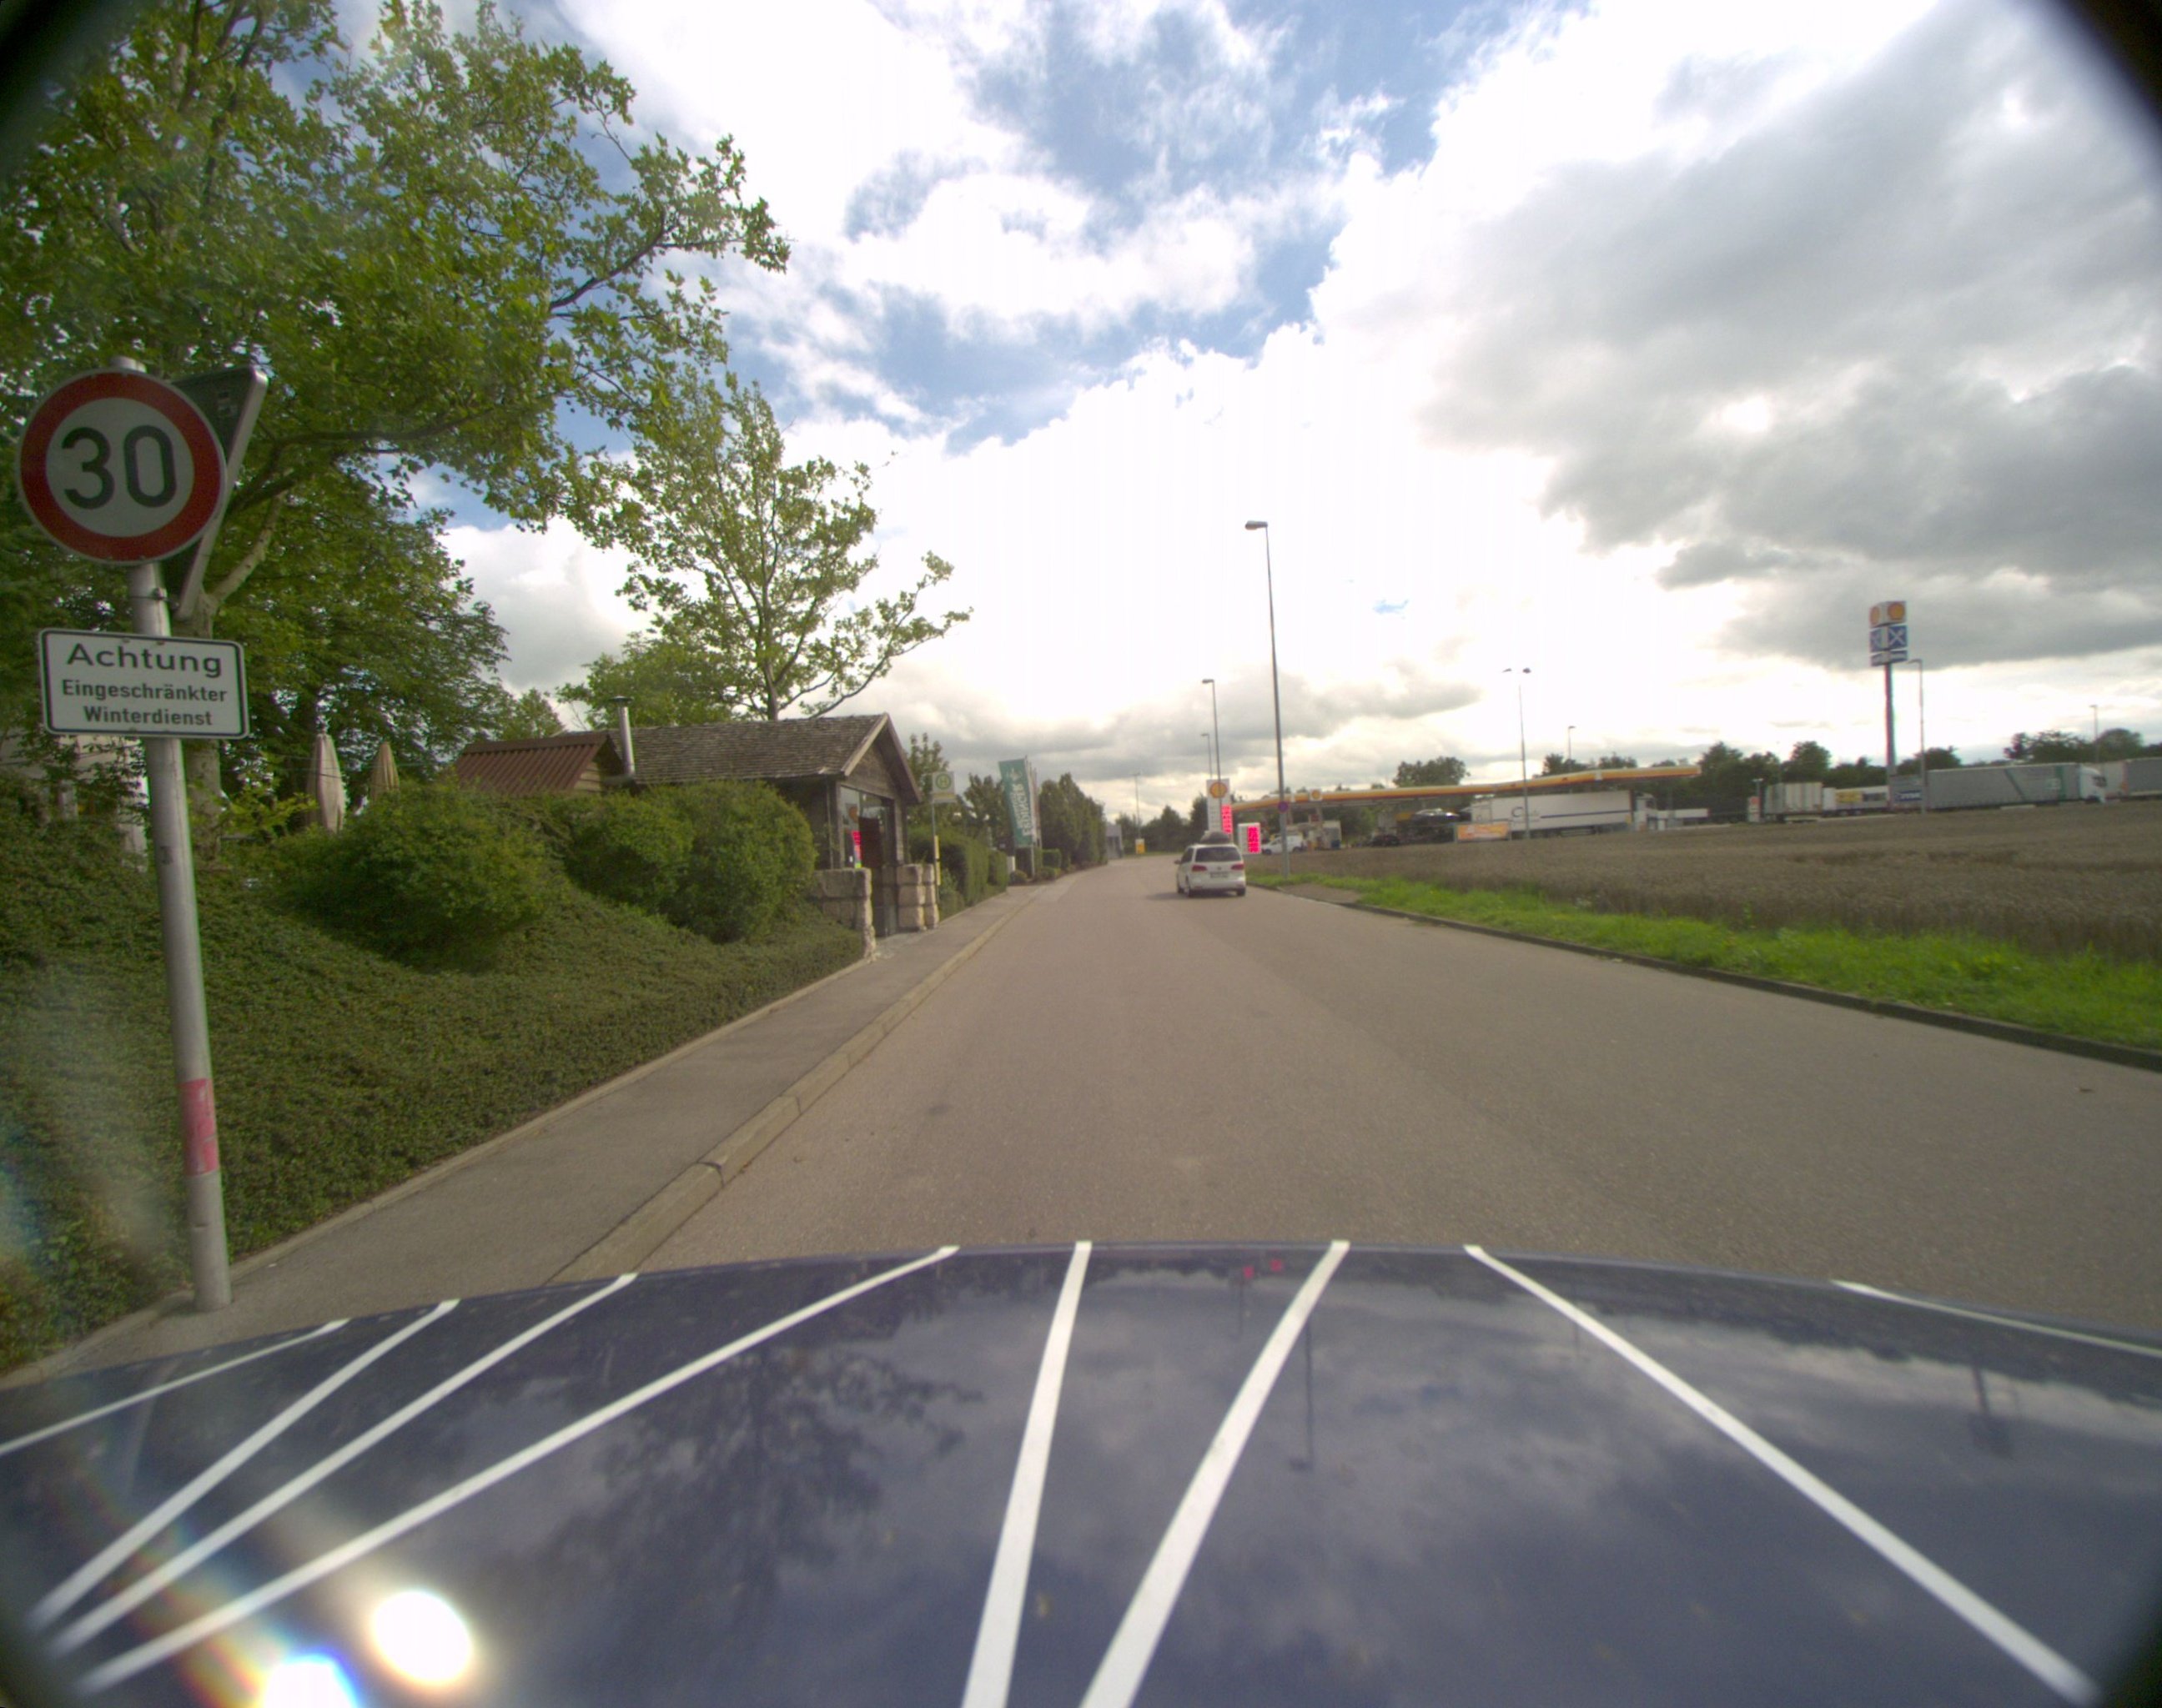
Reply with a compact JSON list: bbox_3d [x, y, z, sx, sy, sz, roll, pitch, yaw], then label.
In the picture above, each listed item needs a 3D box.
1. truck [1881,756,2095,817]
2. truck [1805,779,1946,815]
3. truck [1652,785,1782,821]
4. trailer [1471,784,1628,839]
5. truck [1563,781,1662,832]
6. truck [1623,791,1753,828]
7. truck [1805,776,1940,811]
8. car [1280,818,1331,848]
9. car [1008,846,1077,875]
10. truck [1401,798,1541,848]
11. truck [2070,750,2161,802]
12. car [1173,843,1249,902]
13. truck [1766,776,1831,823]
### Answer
[{"bbox_3d":[72.760,-5.408,60.993,15.457,3.872,2.822,-4,2,-6],"label":"truck"},{"bbox_3d":[106.431,-7.596,102.234,12.774,3.872,2.829,-2,2,36],"label":"truck"},{"bbox_3d":[83.862,-6.683,100.704,12.978,3.872,2.829,-2,2,38],"label":"truck"},{"bbox_3d":[41.119,-3.726,66.782,12.846,4.001,2.710,-4,1,-8],"label":"trailer"},{"bbox_3d":[47.250,-4.192,67.651,7.168,4.001,2.710,-4,1,-8],"label":"truck"},{"bbox_3d":[77.201,-5.637,97.194,12.774,3.872,2.829,-2,2,36],"label":"truck"},{"bbox_3d":[110.310,-8.356,106.271,12.774,3.872,2.829,-2,2,36],"label":"truck"},{"bbox_3d":[23.743,-2.236,80.202,5.818,2.771,2.219,-4,1,-40],"label":"car"},{"bbox_3d":[-2.600,0.414,51.793,4.357,1.706,1.658,-3,1,10],"label":"car"},{"bbox_3d":[36.611,-2.905,71.229,13.264,3.902,2.748,-4,2,-16],"label":"truck"},{"bbox_3d":[91.245,-6.800,63.788,15.460,3.872,2.821,-4,2,-8],"label":"truck"},{"bbox_3d":[4.075,0.525,24.393,1.703,1.655,4.031,-2,1,0],"label":"car"},{"bbox_3d":[70.853,-5.383,75.332,2.955,4.089,14.773,-2,2,37],"label":"truck"}]
